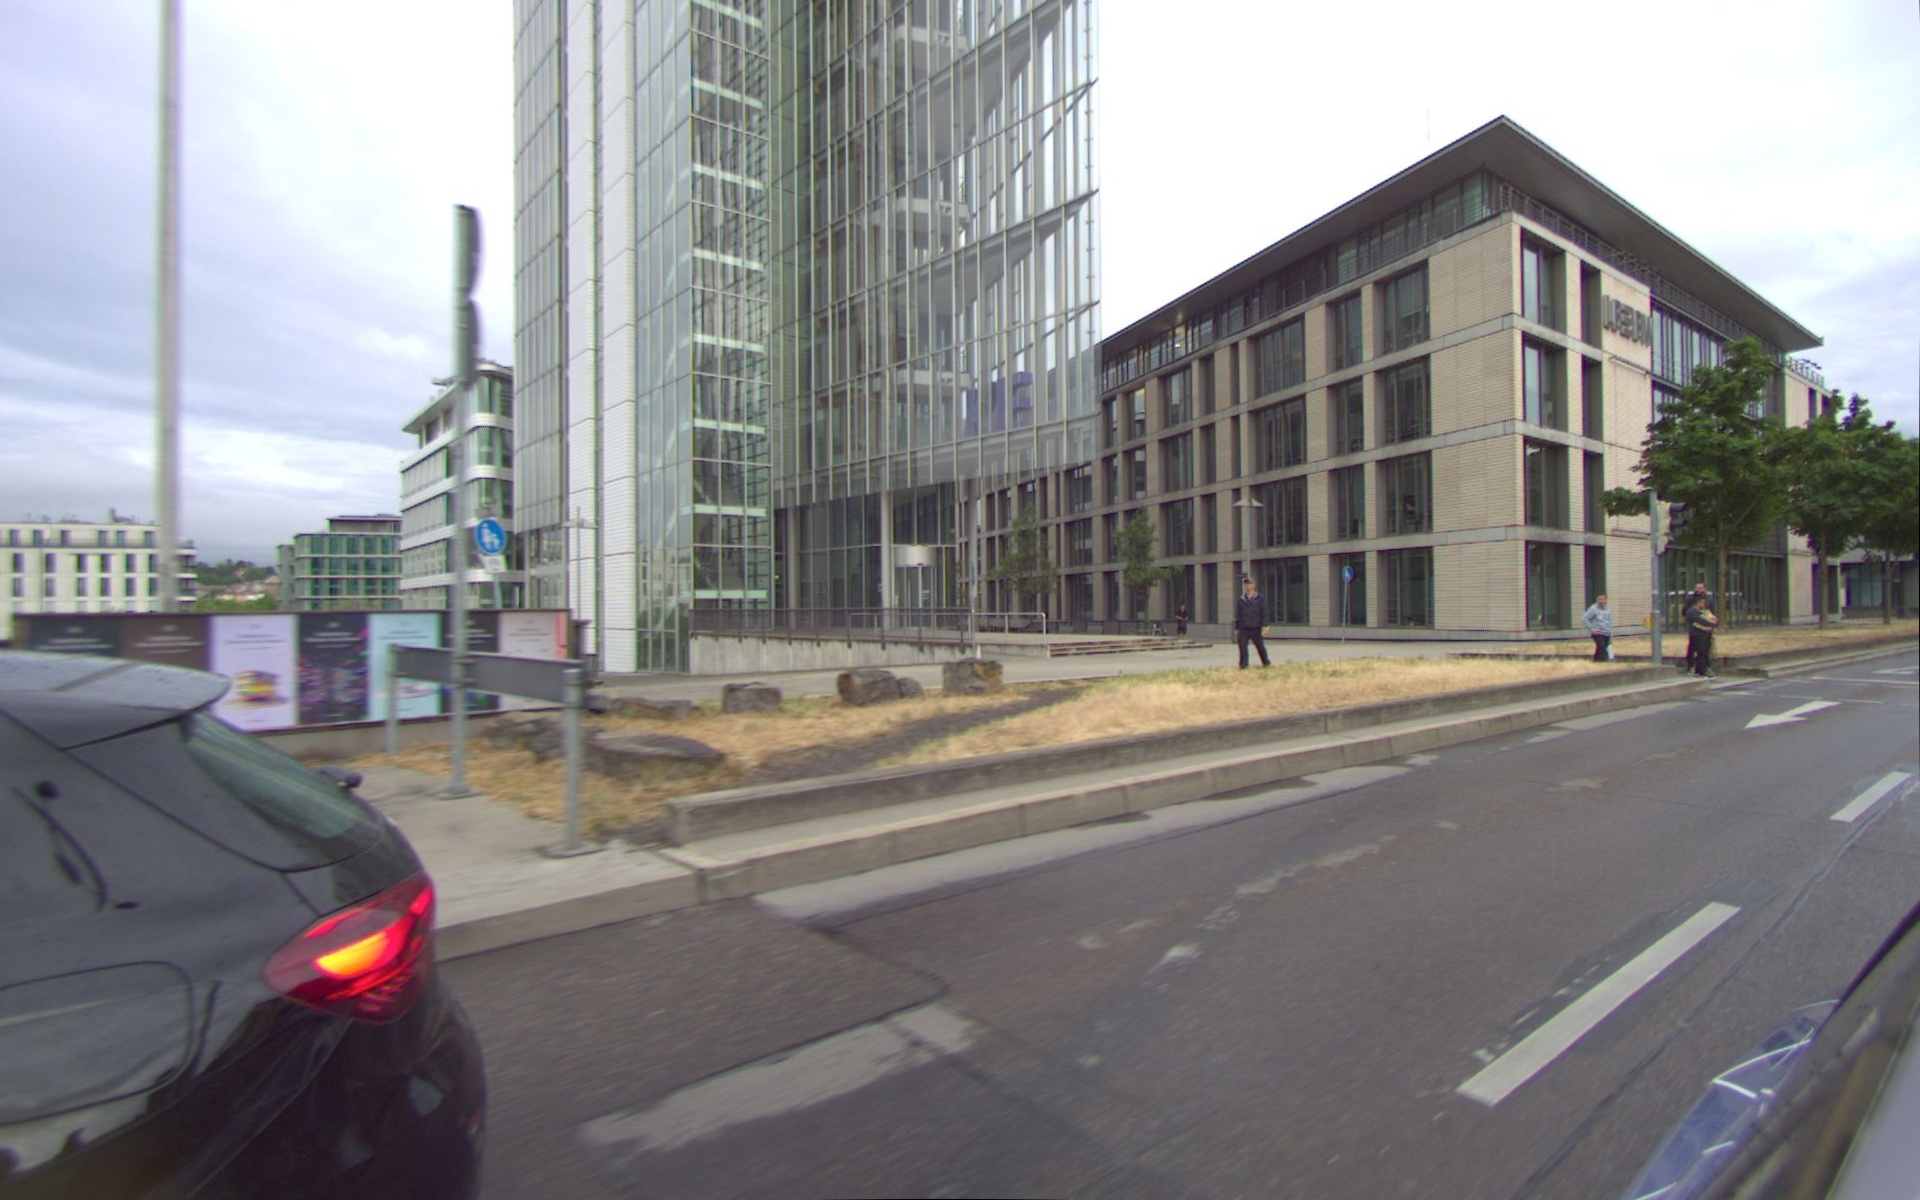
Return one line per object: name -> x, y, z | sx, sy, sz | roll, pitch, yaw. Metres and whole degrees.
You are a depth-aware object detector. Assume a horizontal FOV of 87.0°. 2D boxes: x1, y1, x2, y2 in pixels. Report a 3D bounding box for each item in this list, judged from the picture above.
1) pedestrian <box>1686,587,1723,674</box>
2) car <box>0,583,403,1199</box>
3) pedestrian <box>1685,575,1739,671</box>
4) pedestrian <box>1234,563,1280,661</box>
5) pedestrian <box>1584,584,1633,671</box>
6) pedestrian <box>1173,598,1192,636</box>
pedestrian -> 13.677, 0.545, 18.585 | 0.539, 1.547, 0.593 | 0, 1, 37
car -> -2.900, 0.705, 0.774 | 4.083, 1.393, 1.726 | -1, 1, -41
pedestrian -> 14.461, 0.422, 19.470 | 0.770, 1.793, 0.726 | -1, 1, -44
pedestrian -> 5.021, 0.209, 17.131 | 0.649, 1.631, 0.546 | 0, -1, 6
pedestrian -> 12.330, 0.518, 19.255 | 0.643, 1.619, 0.462 | -1, 0, -11
pedestrian -> 10.456, 0.782, 47.561 | 0.621, 1.767, 0.637 | -1, 1, -19
